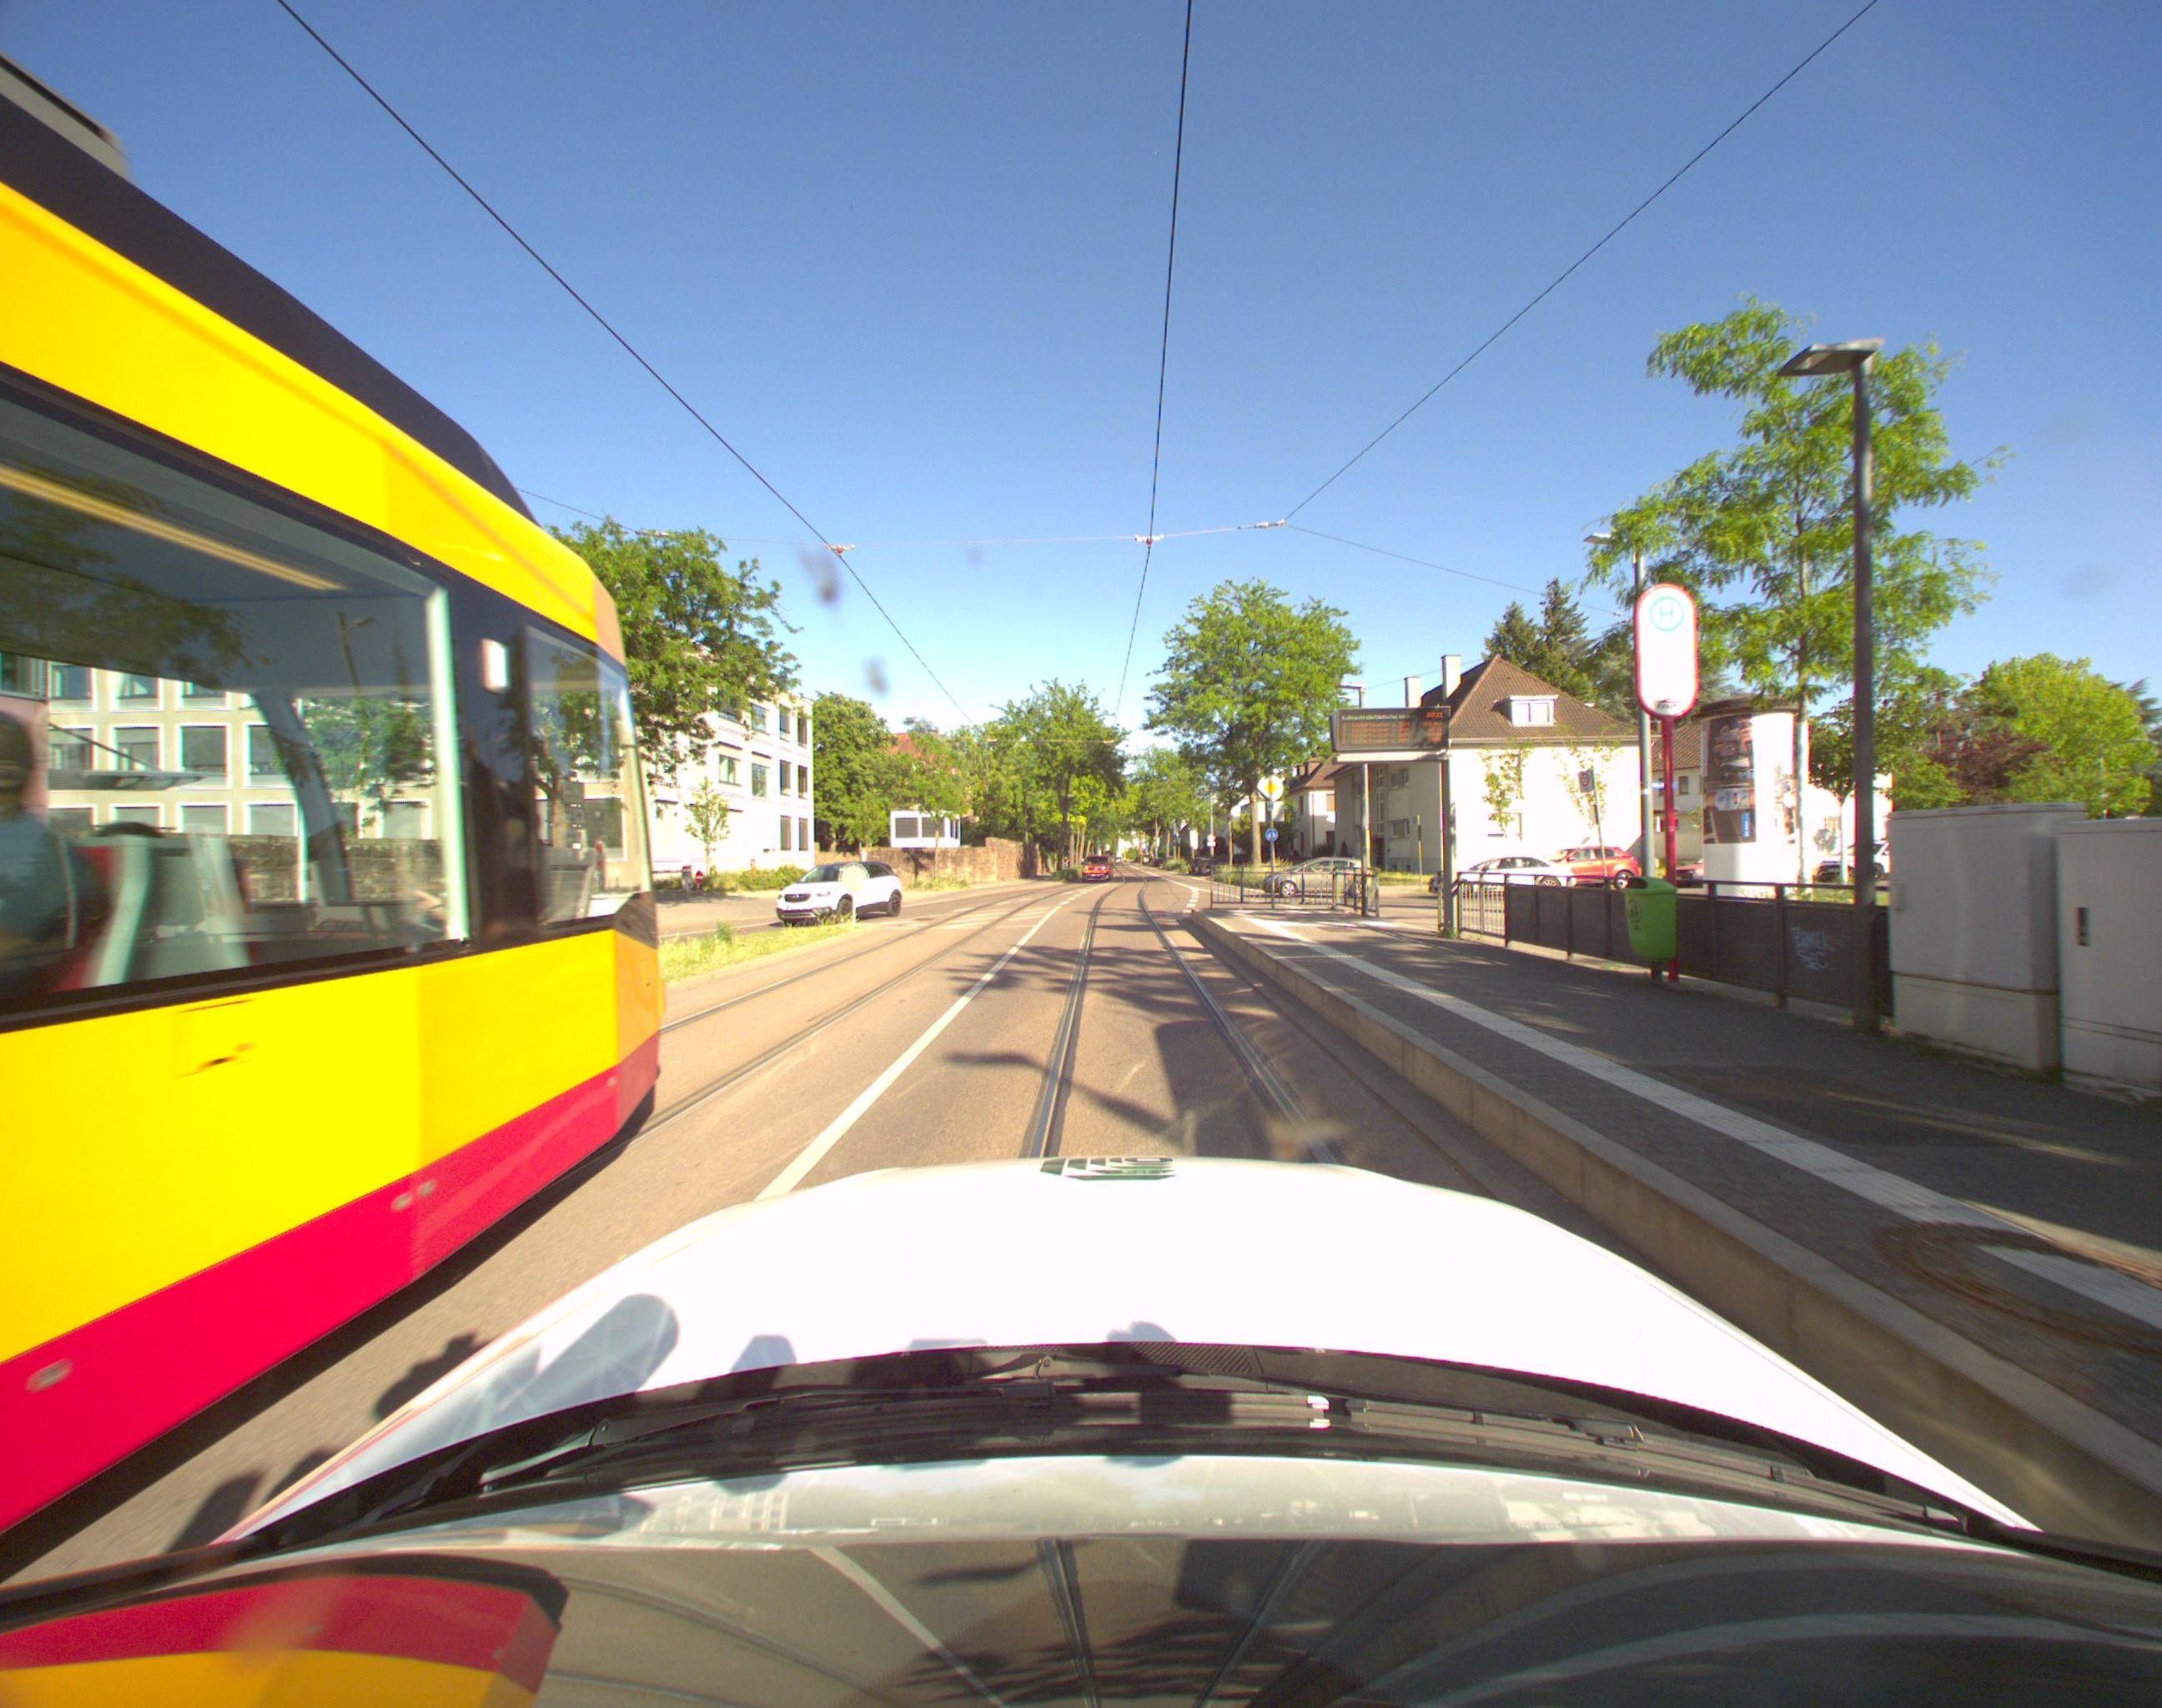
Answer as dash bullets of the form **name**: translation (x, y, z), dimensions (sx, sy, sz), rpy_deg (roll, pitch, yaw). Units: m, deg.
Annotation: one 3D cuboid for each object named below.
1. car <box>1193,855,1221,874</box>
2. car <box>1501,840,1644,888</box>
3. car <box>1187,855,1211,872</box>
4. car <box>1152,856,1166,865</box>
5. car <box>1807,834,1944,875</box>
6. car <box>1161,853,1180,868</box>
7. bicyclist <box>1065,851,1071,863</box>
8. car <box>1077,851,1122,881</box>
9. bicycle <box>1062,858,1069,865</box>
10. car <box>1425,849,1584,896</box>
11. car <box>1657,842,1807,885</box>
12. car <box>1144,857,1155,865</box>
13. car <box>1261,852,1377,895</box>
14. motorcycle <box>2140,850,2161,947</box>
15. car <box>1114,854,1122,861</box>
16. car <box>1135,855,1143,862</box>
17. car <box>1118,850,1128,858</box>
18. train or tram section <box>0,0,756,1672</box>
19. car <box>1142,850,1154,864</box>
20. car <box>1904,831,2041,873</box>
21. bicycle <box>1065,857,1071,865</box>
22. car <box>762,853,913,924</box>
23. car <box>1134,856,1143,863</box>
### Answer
- **car**: translation (10.685, 0.864, 69.139), dimensions (1.742, 1.495, 4.445), rpy_deg (-2, 0, 2)
- **car**: translation (18.225, 0.364, 30.366), dimensions (4.149, 1.642, 1.982), rpy_deg (-1, 0, 0)
- **car**: translation (10.835, 0.864, 75.111), dimensions (1.742, 1.495, 3.998), rpy_deg (-2, 0, 2)
- **car**: translation (12.789, 1.072, 133.891), dimensions (1.778, 1.448, 4.300), rpy_deg (-4, 0, 0)
- **car**: translation (30.672, 0.015, 31.461), dimensions (4.171, 1.508, 1.971), rpy_deg (-1, 0, -16)
- **car**: translation (11.848, 0.841, 107.535), dimensions (1.987, 1.704, 4.478), rpy_deg (-4, 0, 1)
- **bicyclist**: translation (-1.728, 0.370, 108.510), dimensions (0.591, 1.527, 1.062), rpy_deg (-1, 0, 3)
- **car**: translation (1.353, 0.786, 56.163), dimensions (1.979, 1.966, 4.953), rpy_deg (-1, 0, 14)
- **bicycle**: translation (-2.009, 0.940, 104.508), dimensions (0.708, 0.960, 2.096), rpy_deg (-1, 0, 3)
- **car**: translation (14.594, 0.654, 28.355), dimensions (4.570, 1.466, 1.989), rpy_deg (-2, -2, 14)
- **car**: translation (24.399, 0.346, 30.612), dimensions (4.154, 1.508, 1.979), rpy_deg (-1, 0, -4)
- **car**: translation (12.149, 1.214, 143.764), dimensions (1.621, 1.397, 3.646), rpy_deg (-4, 0, 1)
- **car**: translation (8.726, 0.715, 30.176), dimensions (3.961, 1.508, 1.988), rpy_deg (-1, 0, 11)
- **motorcycle**: translation (13.949, 0.511, 9.585), dimensions (1.995, 1.158, 0.860), rpy_deg (-1, -1, -5)
- **car**: translation (9.225, 0.806, 203.343), dimensions (1.858, 1.675, 4.176), rpy_deg (-2, 0, 3)
- **car**: translation (15.370, 1.280, 214.882), dimensions (1.993, 1.675, 4.399), rpy_deg (-3, 0, 6)
- **car**: translation (12.520, -0.003, 243.357), dimensions (1.994, 2.458, 4.491), rpy_deg (-2, 0, -11)
- **train or tram section**: translation (-3.309, -0.289, 1.146), dimensions (2.793, 3.460, 6.671), rpy_deg (-1, 0, 2)
- **car**: translation (13.594, 0.562, 165.250), dimensions (2.237, 2.654, 5.587), rpy_deg (-1, 0, 2)
- **car**: translation (35.522, -0.082, 32.496), dimensions (3.990, 1.574, 1.992), rpy_deg (1, 0, -12)
- **bicycle**: translation (-1.721, 0.952, 108.454), dimensions (0.587, 0.960, 2.134), rpy_deg (-1, 0, 3)
- **car**: translation (-6.276, 0.843, 21.555), dimensions (1.751, 1.663, 4.228), rpy_deg (-2, 0, 16)
- **car**: translation (13.853, 1.298, 197.372), dimensions (1.995, 1.675, 4.393), rpy_deg (-3, 0, 1)
